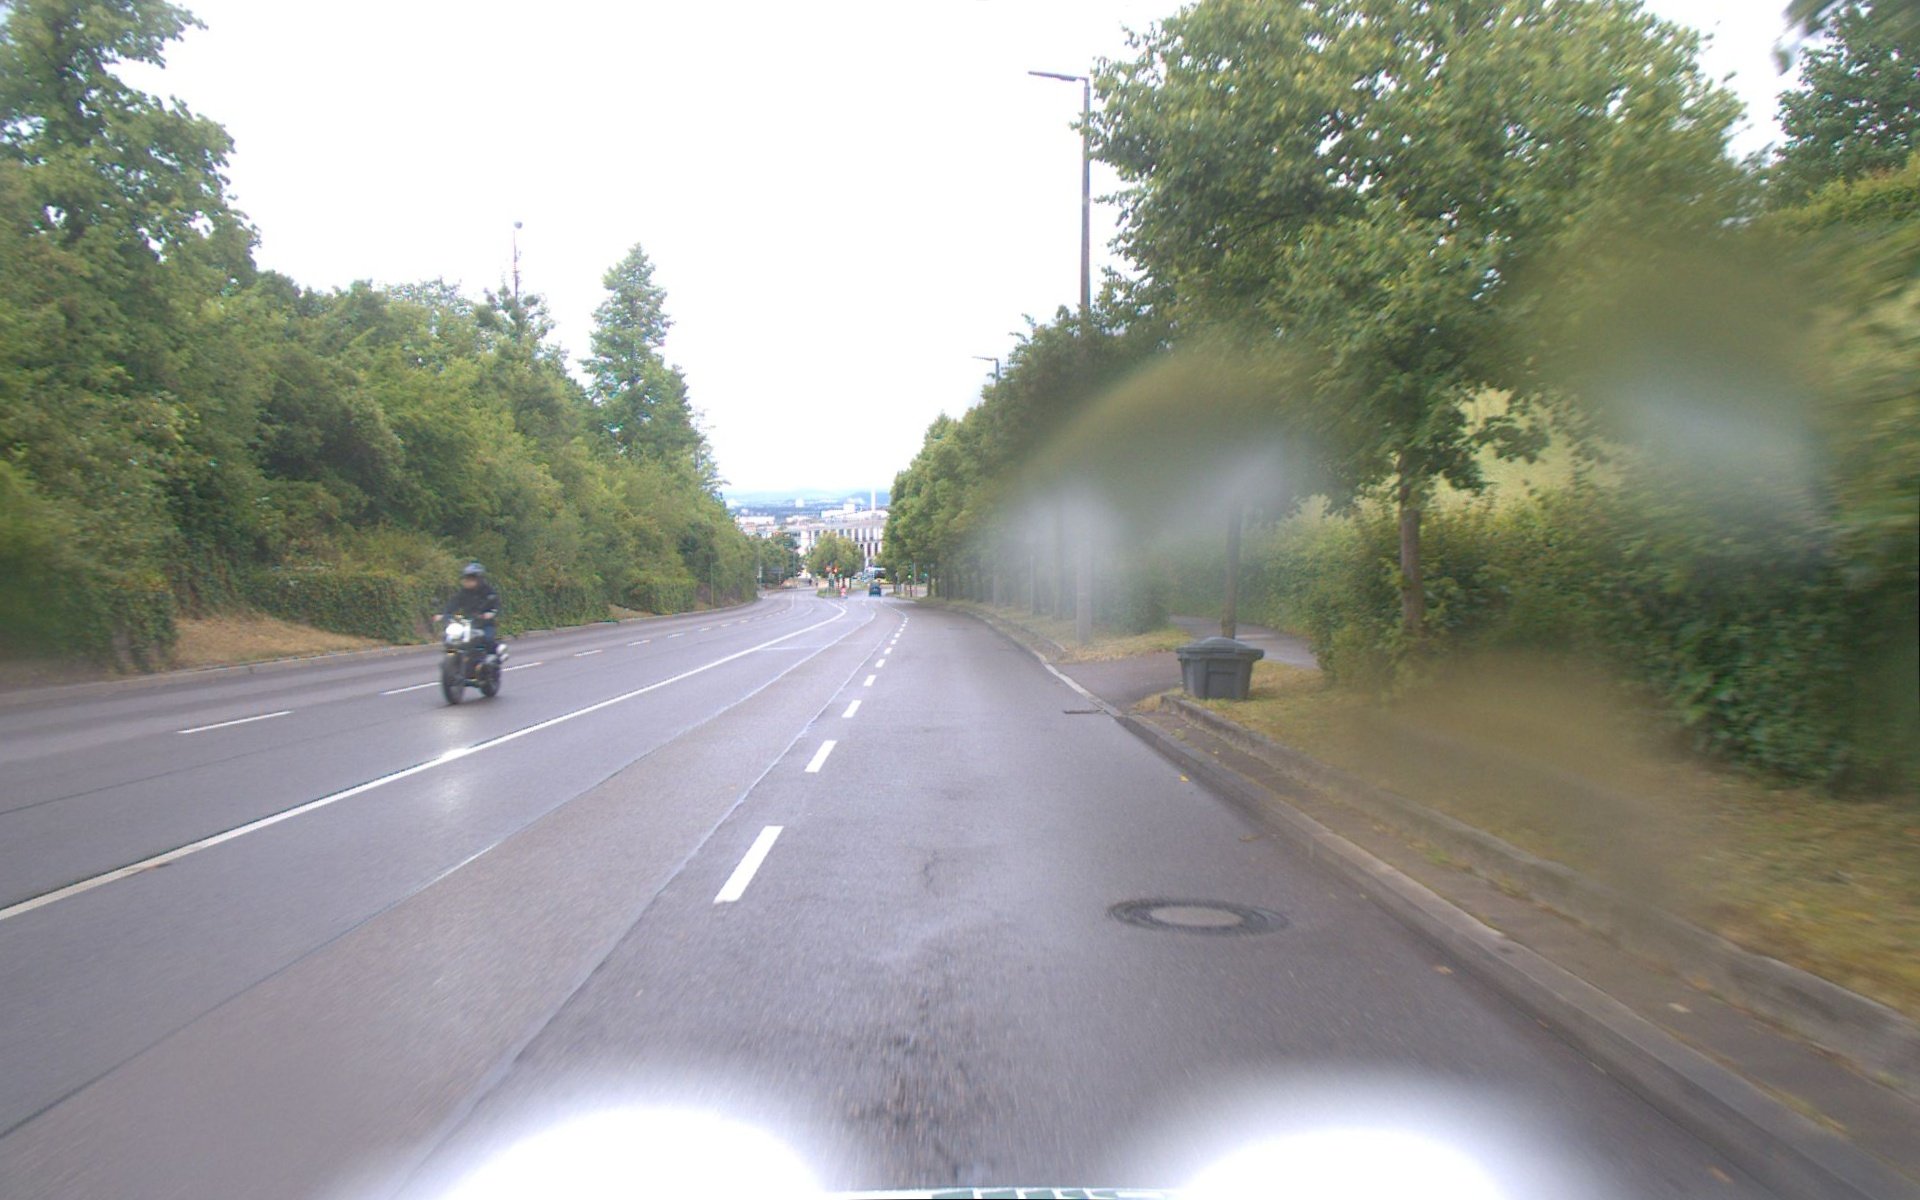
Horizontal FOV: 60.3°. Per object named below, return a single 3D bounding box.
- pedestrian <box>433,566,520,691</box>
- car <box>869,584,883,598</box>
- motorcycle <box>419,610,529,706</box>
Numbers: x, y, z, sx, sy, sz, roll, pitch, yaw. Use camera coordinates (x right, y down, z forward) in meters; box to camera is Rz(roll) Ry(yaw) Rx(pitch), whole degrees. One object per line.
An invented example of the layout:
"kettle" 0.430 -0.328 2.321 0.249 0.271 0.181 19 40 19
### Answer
"pedestrian" -6.265 0.359 21.481 0.789 1.568 1.111 1 0 -1
"car" -11.212 -1.191 221.722 1.812 1.731 3.790 1 -1 -3
"motorcycle" -6.269 0.725 21.462 0.789 1.151 2.231 1 0 -1
